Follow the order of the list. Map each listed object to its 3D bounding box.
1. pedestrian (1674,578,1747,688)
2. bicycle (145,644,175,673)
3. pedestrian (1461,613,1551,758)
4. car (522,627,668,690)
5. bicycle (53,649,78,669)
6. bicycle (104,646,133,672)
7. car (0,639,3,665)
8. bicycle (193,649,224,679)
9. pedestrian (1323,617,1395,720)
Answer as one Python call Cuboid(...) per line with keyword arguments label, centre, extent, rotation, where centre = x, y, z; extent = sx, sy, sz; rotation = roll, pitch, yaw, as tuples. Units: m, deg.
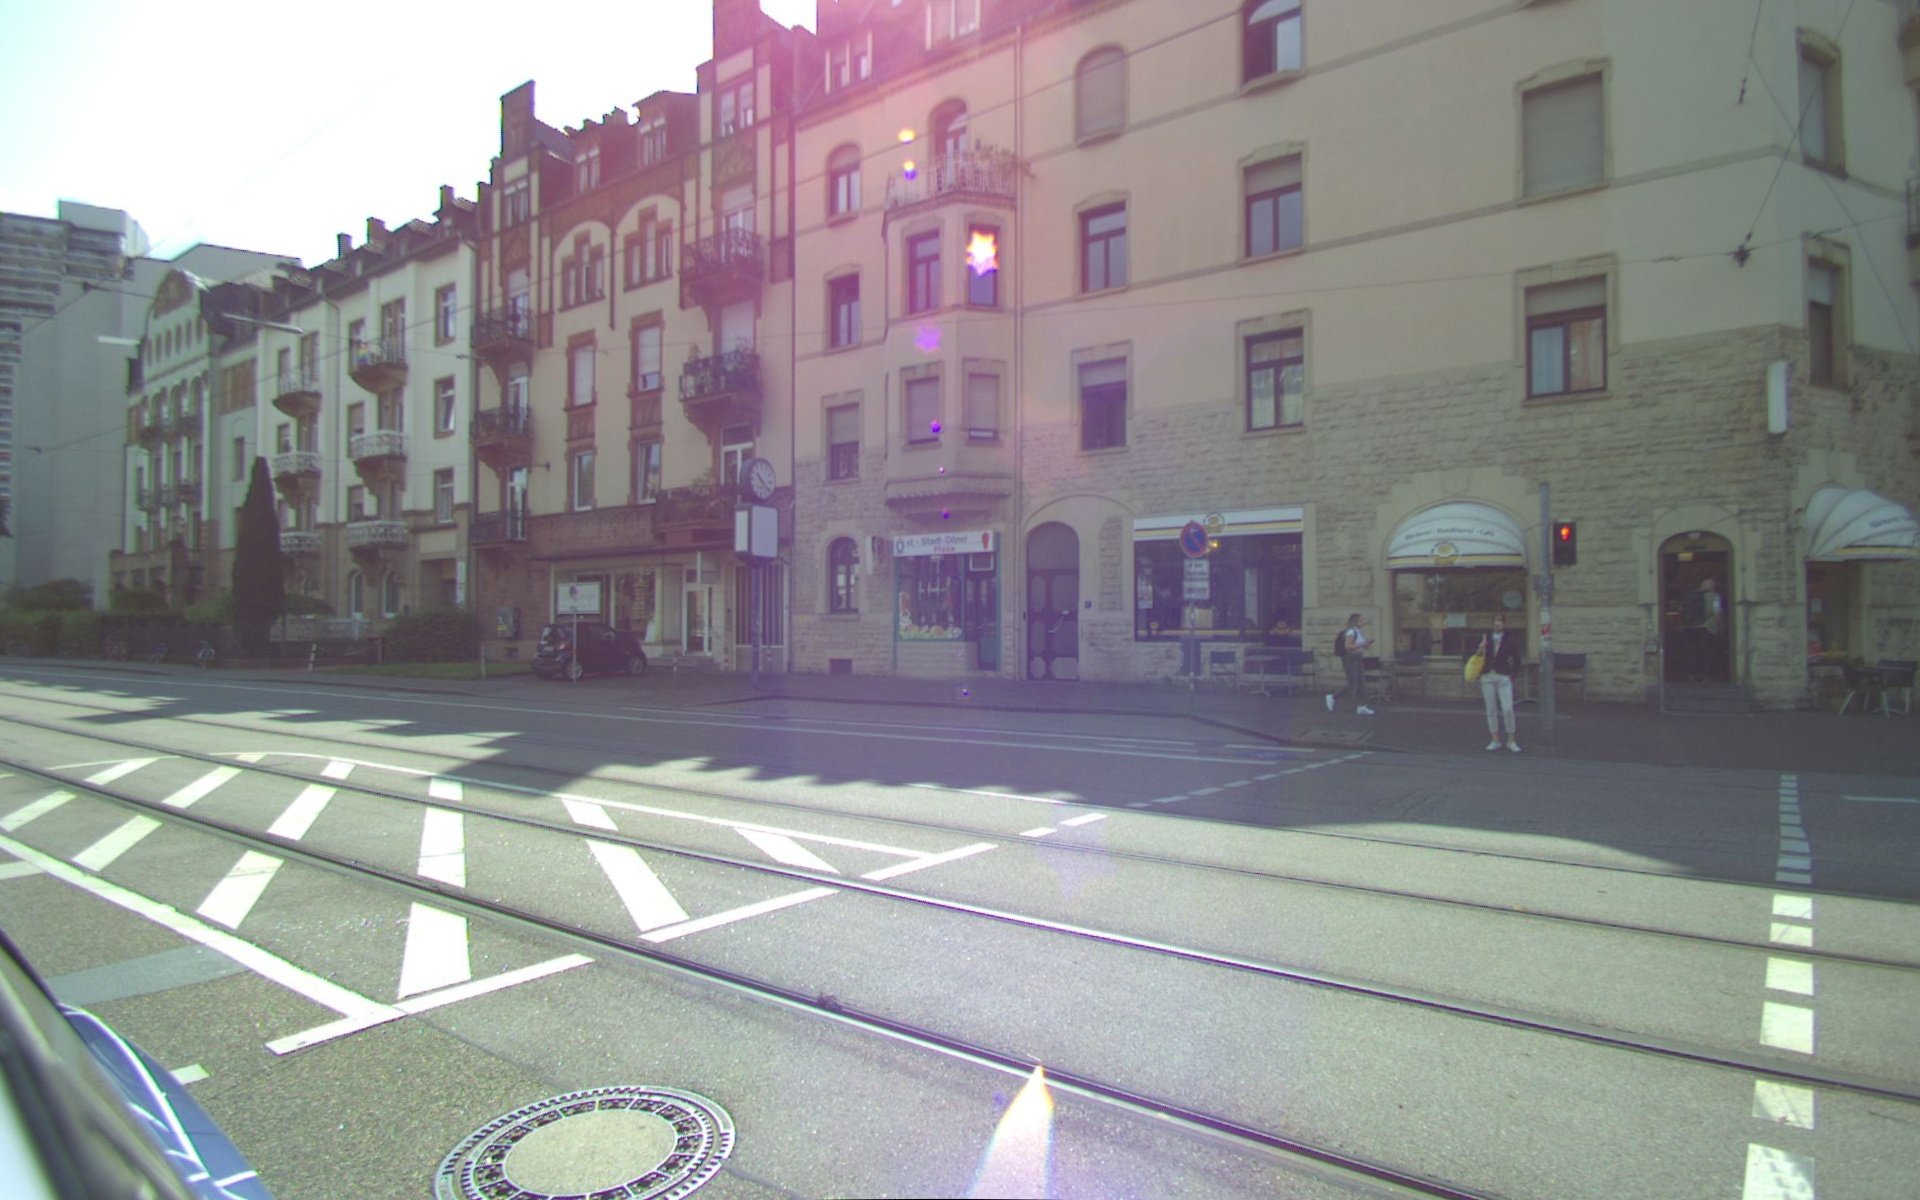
Cuboid(label="pedestrian", centre=(11.941, 0.529, 16.126), extent=(0.855, 1.685, 0.812), rotation=(-2, -3, 34))
Cuboid(label="bicycle", centre=(-30.910, 2.250, 39.105), extent=(1.871, 1.037, 0.533), rotation=(-1, -2, 40))
Cuboid(label="pedestrian", centre=(6.890, 1.048, 12.767), extent=(0.872, 1.717, 0.750), rotation=(-2, 2, 35))
Cuboid(label="car", centre=(-10.003, 1.563, 27.935), extent=(1.703, 1.497, 3.413), rotation=(-2, 0, 37))
Cuboid(label="bicycle", centre=(-39.766, 2.629, 44.989), extent=(1.871, 0.803, 0.580), rotation=(-1, 1, 40))
Cuboid(label="bicycle", centre=(-34.615, 2.411, 41.642), extent=(1.871, 0.993, 0.580), rotation=(-1, -2, 40))
Cuboid(label="car", centre=(-58.025, 3.018, 58.407), extent=(1.632, 1.548, 3.843), rotation=(-2, -3, 37))
Cuboid(label="bicycle", centre=(-26.529, 2.244, 35.711), extent=(2.067, 0.913, 0.518), rotation=(1, -1, 43))
Cuboid(label="pedestrian", centre=(6.373, 1.079, 16.157), extent=(0.958, 1.553, 0.690), rotation=(-2, 1, 27))
